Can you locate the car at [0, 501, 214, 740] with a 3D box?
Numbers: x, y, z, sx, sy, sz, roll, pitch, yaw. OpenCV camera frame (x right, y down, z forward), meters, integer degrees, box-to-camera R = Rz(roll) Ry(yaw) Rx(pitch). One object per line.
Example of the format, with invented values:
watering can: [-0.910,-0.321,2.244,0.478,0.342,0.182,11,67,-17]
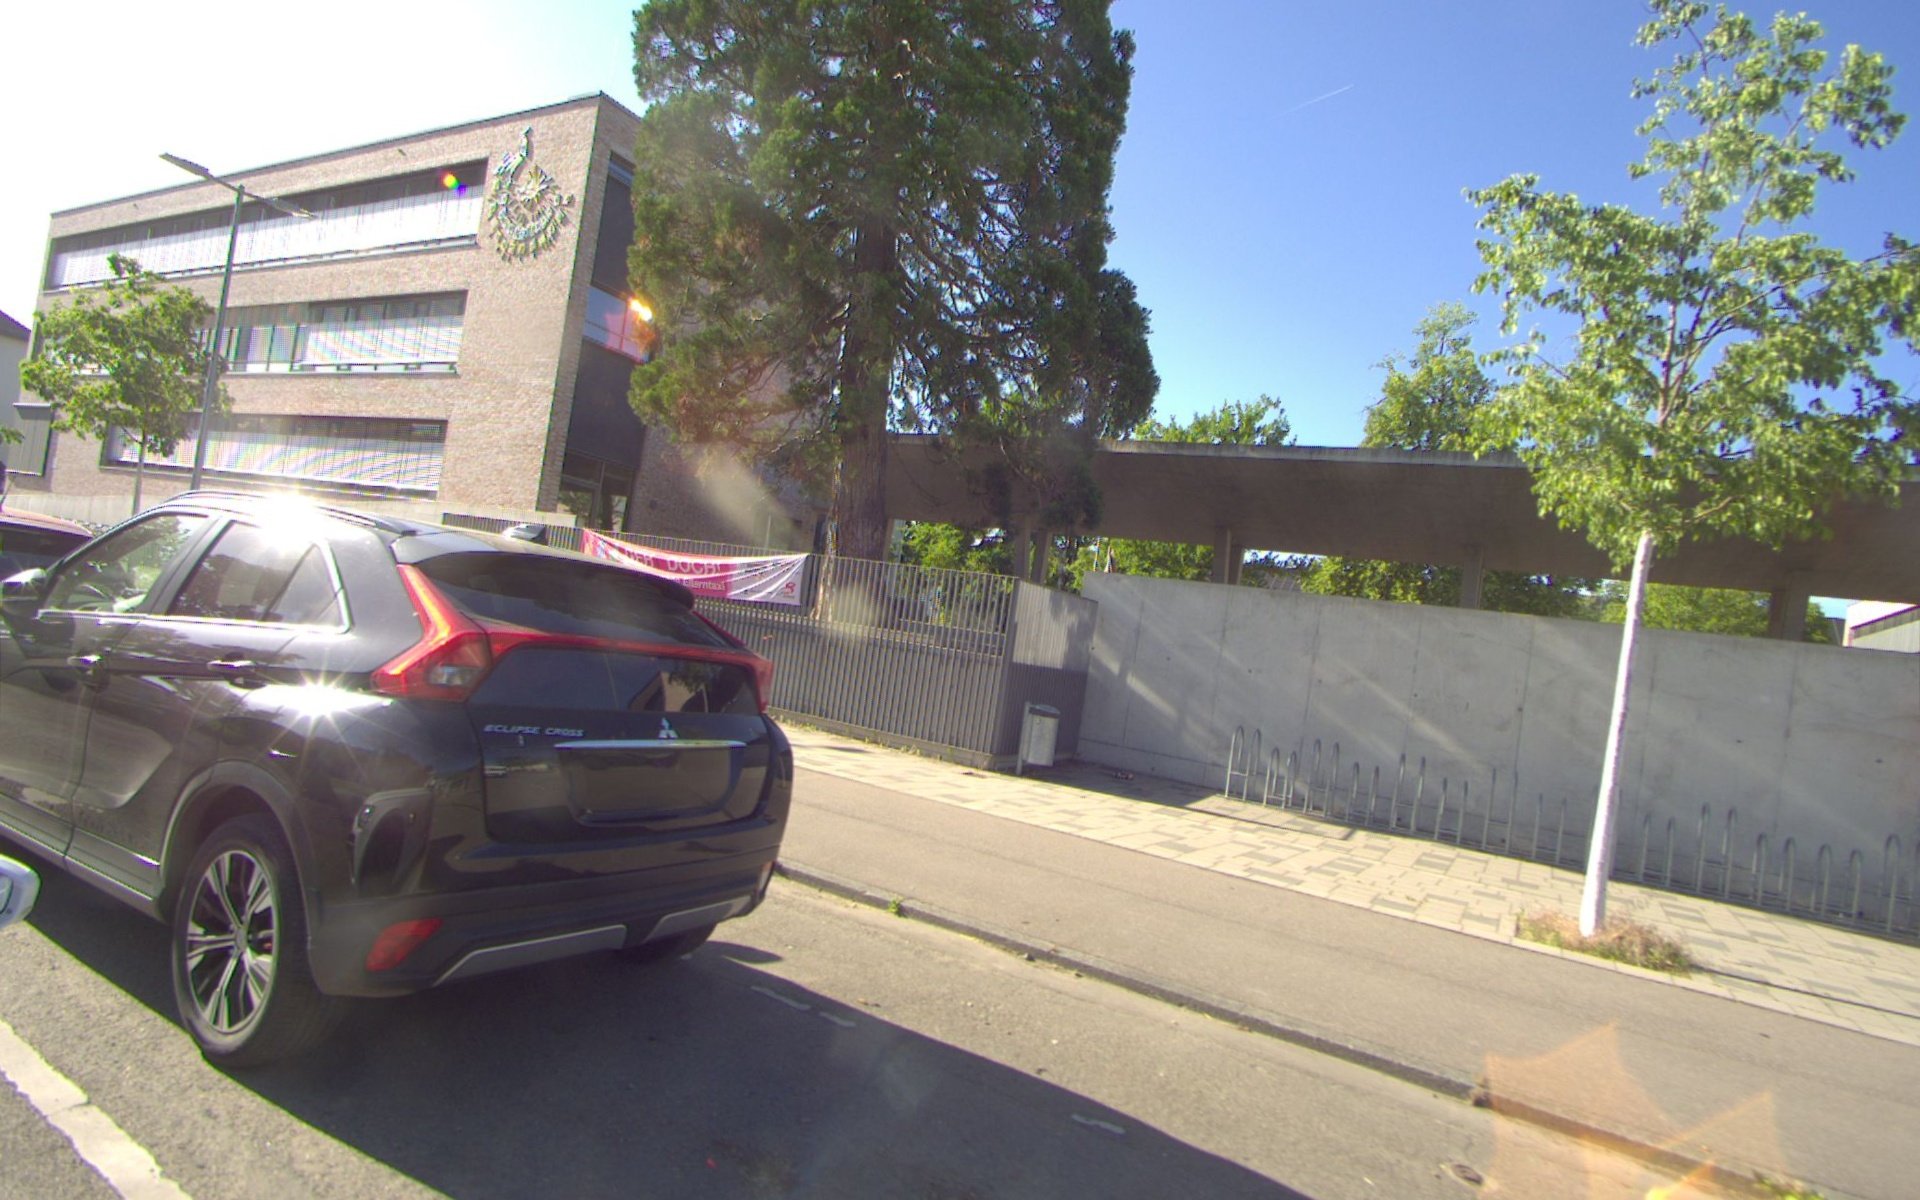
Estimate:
car: [-7.496,-0.045,7.364,3.883,1.471,1.798,7,-2,31]

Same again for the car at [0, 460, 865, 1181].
car: [-2.833,0.443,4.360,4.428,1.659,1.850,7,-2,31]

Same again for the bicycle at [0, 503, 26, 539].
bicycle: [-32.863,-2.757,33.963,0.491,1.121,1.797,7,0,29]

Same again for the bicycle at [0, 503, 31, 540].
bicycle: [-32.408,-2.702,33.674,0.491,1.121,1.797,7,0,29]

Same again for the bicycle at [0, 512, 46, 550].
bicycle: [-31.679,-2.341,33.420,0.491,1.121,1.797,7,0,29]
